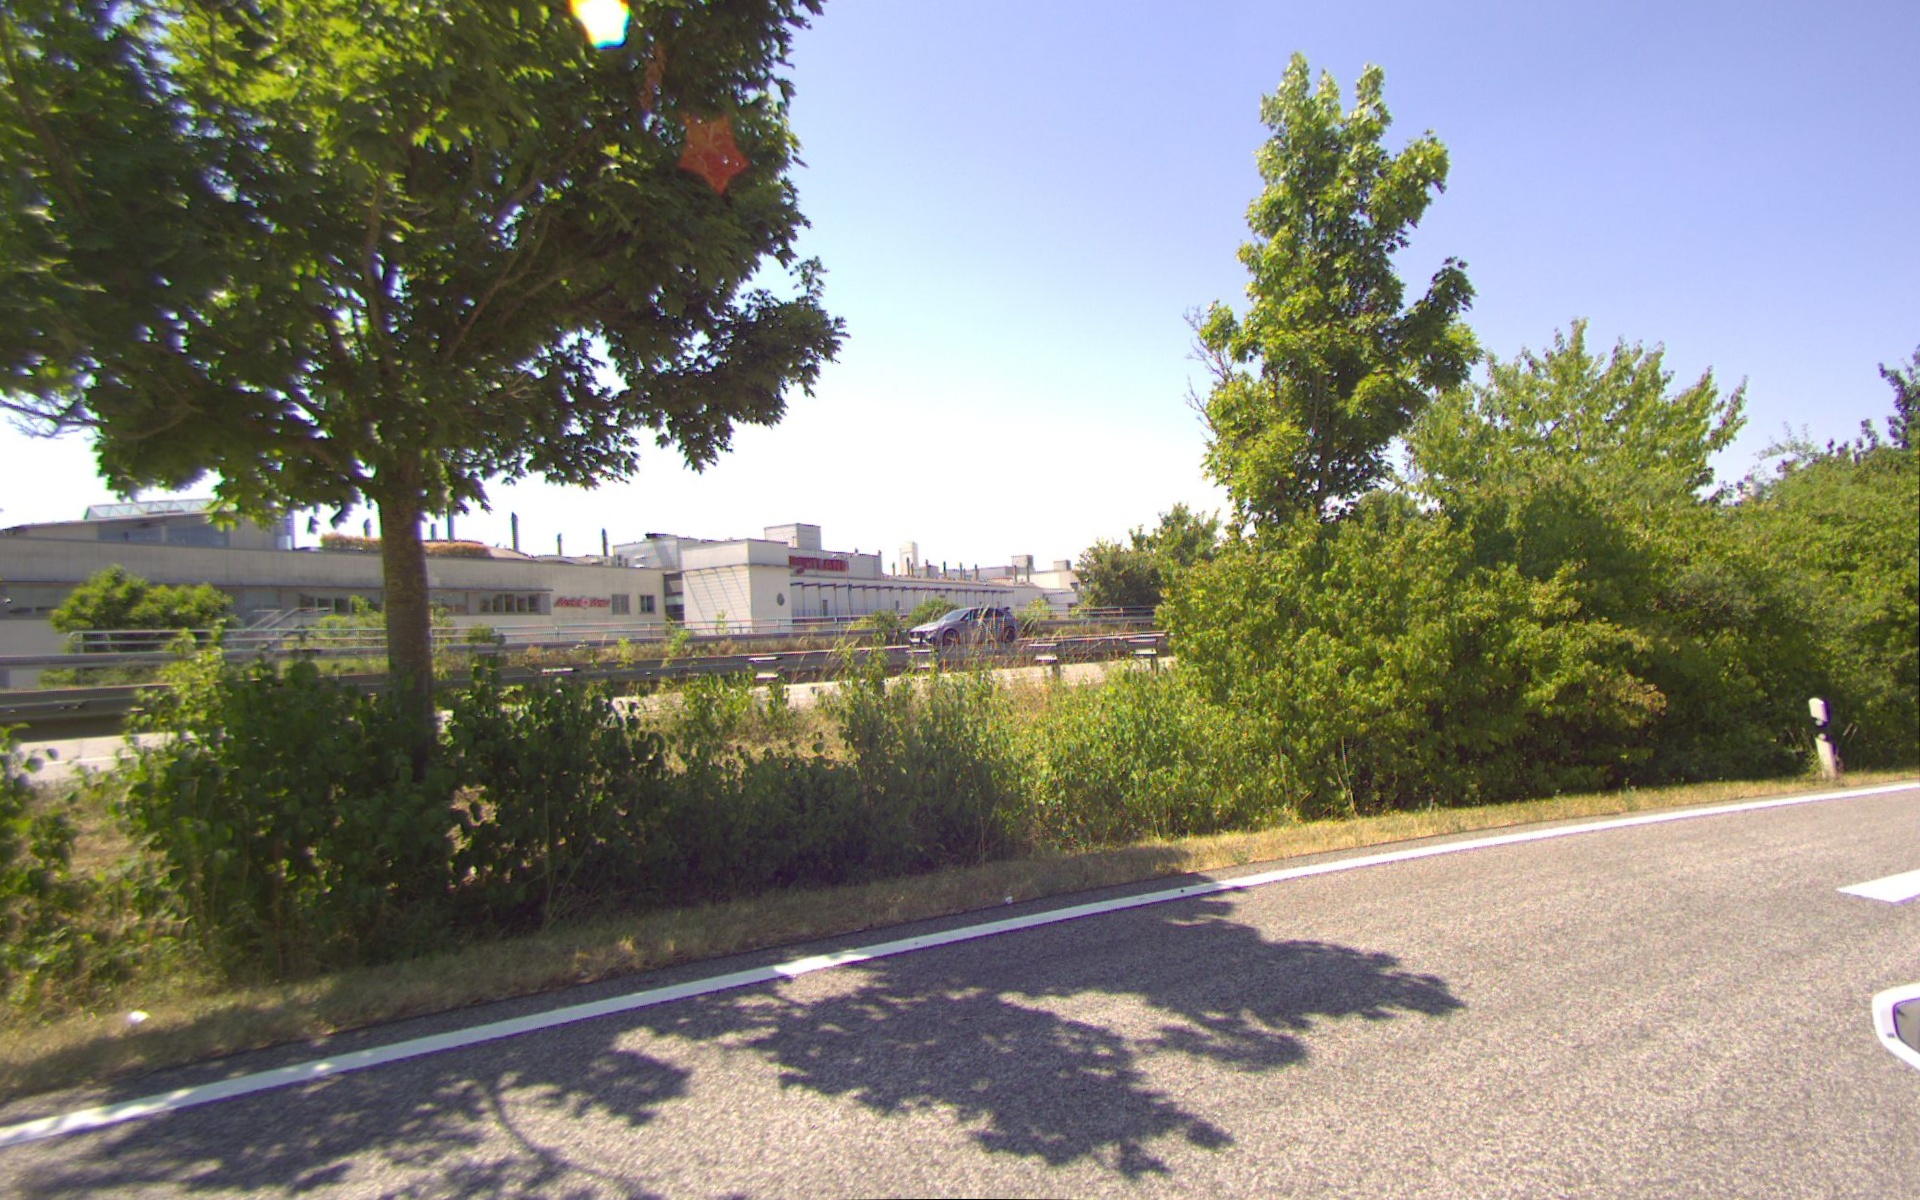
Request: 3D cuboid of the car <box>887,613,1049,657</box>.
[{"bbox_3d":[0.370,1.280,36.713,5.780,1.461,2.137,2,-1,-35],"label":"car"}]
